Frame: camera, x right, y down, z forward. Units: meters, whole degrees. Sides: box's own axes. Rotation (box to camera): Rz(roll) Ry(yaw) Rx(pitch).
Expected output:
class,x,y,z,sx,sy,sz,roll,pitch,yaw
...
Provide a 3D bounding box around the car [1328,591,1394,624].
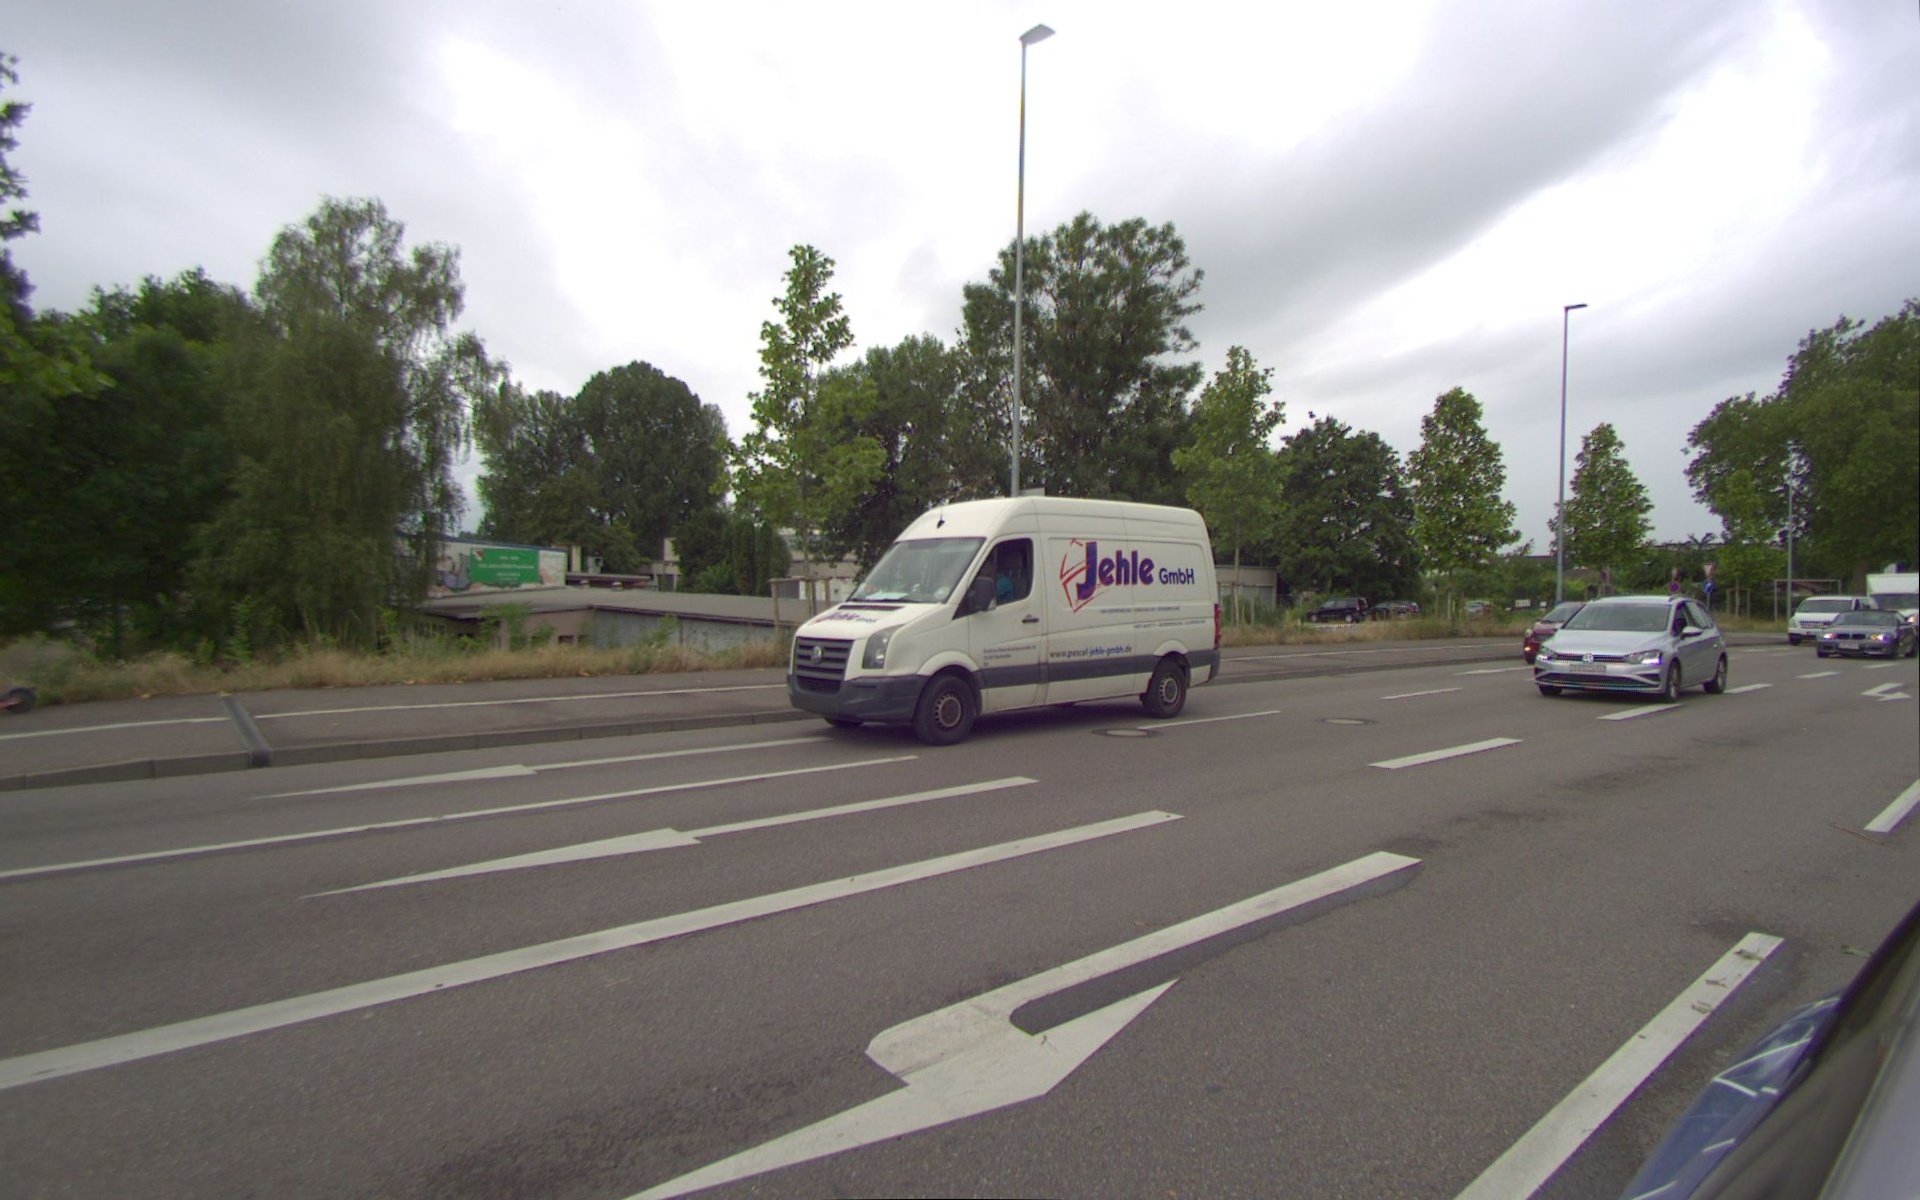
class,x,y,z,sx,sy,sz,roll,pitch,yaw
car,27.188,0.517,68.566,4.476,2.038,2.188,1,2,-40

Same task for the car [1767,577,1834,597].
class,x,y,z,sx,sy,sz,roll,pitch,yaw
car,68.105,-1.054,82.022,1.781,1.527,3.990,-1,1,-44

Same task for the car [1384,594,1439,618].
class,x,y,z,sx,sy,sz,roll,pitch,yaw
car,33.036,0.459,74.004,4.572,1.717,2.119,1,-1,-44

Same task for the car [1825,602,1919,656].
class,x,y,z,sx,sy,sz,roll,pitch,yaw
car,26.346,0.771,28.943,4.268,1.408,1.873,0,0,-41

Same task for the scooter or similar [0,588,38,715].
class,x,y,z,sx,sy,sz,roll,pitch,yaw
scooter or similar,-9.766,0.519,9.883,1.027,1.229,0.376,-2,3,-33

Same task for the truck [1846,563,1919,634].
class,x,y,z,sx,sy,sz,roll,pitch,yaw
truck,42.085,-0.071,44.828,6.419,2.960,2.828,0,0,-35

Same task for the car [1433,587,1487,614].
class,x,y,z,sx,sy,sz,roll,pitch,yaw
car,39.876,0.050,80.673,4.477,2.039,2.314,1,-1,-41

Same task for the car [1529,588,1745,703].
class,x,y,z,sx,sy,sz,roll,pitch,yaw
car,10.741,0.616,15.954,4.128,1.572,1.858,0,0,-41

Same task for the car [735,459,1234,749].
class,x,y,z,sx,sy,sz,roll,pitch,yaw
car,0.526,0.038,12.217,5.797,2.659,2.660,0,0,-42

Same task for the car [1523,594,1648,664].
class,x,y,z,sx,sy,sz,roll,pitch,yaw
car,15.287,0.663,24.666,3.707,1.581,1.653,0,0,-42

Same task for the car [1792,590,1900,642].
class,x,y,z,sx,sy,sz,roll,pitch,yaw
car,34.071,0.577,38.861,5.024,1.904,2.100,0,0,-36
